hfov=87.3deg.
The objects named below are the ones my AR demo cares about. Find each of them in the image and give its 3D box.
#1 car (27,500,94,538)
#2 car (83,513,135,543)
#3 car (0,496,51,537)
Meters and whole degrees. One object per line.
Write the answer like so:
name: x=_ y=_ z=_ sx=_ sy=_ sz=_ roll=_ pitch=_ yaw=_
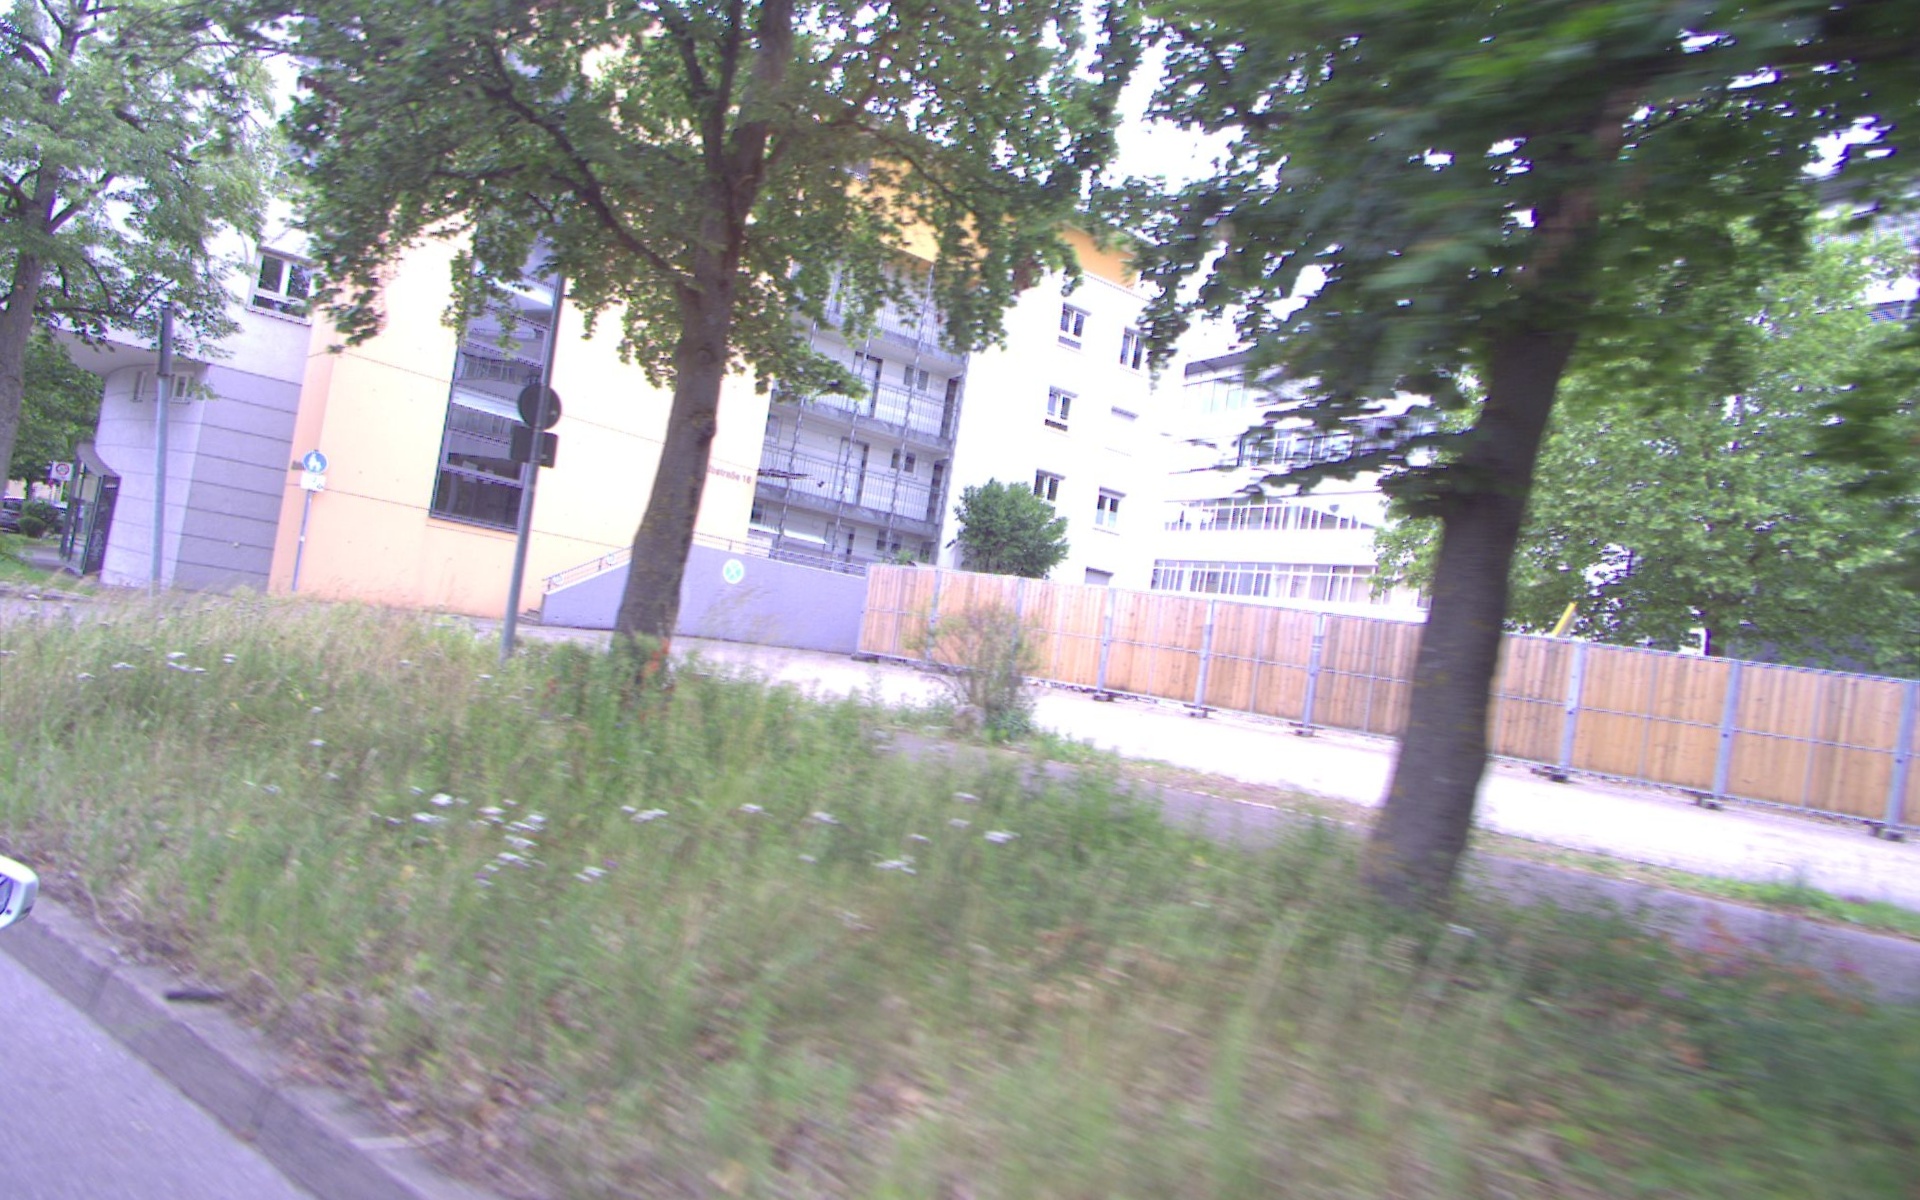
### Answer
car: x=-51.174 y=-4.580 z=57.328 sx=1.767 sy=1.614 sz=4.218 roll=11 pitch=-4 yaw=-29
car: x=-54.560 y=-4.591 z=64.560 sx=1.632 sy=1.389 sz=3.422 roll=12 pitch=-5 yaw=-28
car: x=-45.352 y=-4.043 z=48.044 sx=1.864 sy=1.584 sz=3.988 roll=13 pitch=-5 yaw=-31
